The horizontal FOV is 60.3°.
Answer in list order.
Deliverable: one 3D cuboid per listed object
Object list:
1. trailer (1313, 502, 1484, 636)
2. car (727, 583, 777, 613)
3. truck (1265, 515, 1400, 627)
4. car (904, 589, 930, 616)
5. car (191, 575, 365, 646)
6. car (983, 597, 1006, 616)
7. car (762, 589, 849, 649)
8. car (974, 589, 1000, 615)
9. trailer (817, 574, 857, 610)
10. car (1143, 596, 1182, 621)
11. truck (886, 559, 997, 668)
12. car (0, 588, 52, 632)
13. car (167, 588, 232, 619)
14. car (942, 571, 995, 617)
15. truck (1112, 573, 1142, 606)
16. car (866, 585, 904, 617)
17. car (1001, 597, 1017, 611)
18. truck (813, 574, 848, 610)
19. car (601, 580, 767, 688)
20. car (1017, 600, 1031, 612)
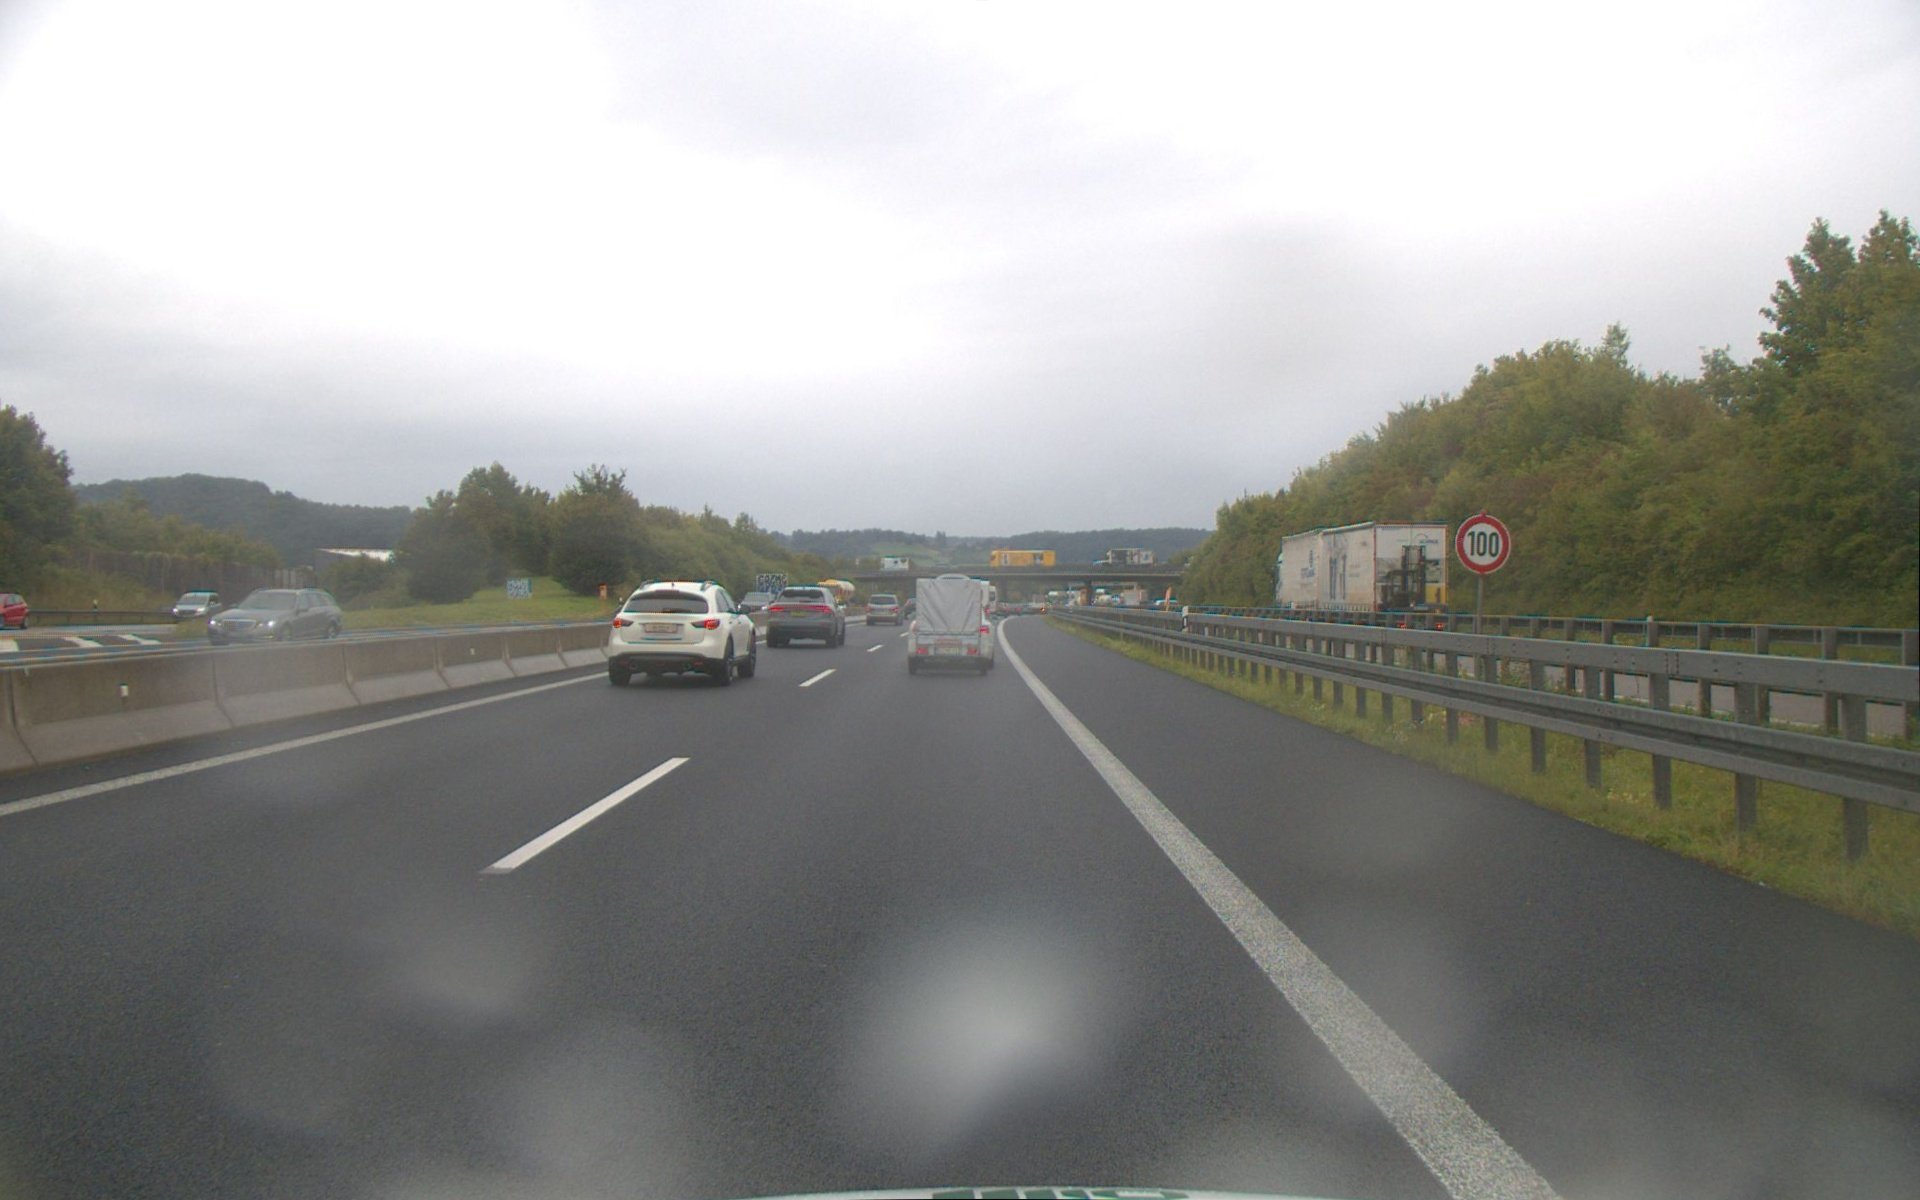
[{"bbox_3d":[15.414,-1.055,59.193,3.367,4.364,10.454,0,0,0],"label":"trailer"},{"bbox_3d":[-12.327,-0.154,98.388,2.134,1.725,4.734,0,0,3],"label":"car"},{"bbox_3d":[15.460,-1.154,69.618,3.367,4.364,10.418,0,0,0],"label":"truck"},{"bbox_3d":[-3.036,0.181,117.017,1.804,1.851,3.999,0,0,-1],"label":"car"},{"bbox_3d":[-17.594,0.244,43.021,2.134,1.725,5.252,0,0,3],"label":"car"},{"bbox_3d":[3.223,0.620,155.657,1.953,1.780,3.998,1,0,-2],"label":"car"},{"bbox_3d":[-4.445,0.533,48.228,2.130,1.660,4.500,0,0,0],"label":"car"},{"bbox_3d":[2.211,0.191,136.737,1.953,2.071,4.150,1,0,-2],"label":"car"},{"bbox_3d":[-12.547,-0.792,169.757,2.704,3.458,11.450,1,0,2],"label":"trailer"},{"bbox_3d":[12.201,0.477,99.789,1.822,1.472,4.157,0,0,0],"label":"car"},{"bbox_3d":[-0.261,0.229,34.324,1.977,2.020,7.215,0,0,2],"label":"truck"},{"bbox_3d":[-38.922,0.382,67.214,2.140,1.725,4.618,0,0,-10],"label":"car"},{"bbox_3d":[-43.757,0.188,95.244,2.139,1.725,4.560,0,0,-8],"label":"car"},{"bbox_3d":[0.543,-0.376,99.704,2.954,2.662,6.076,0,0,2],"label":"car"},{"bbox_3d":[26.367,-1.656,261.783,4.009,5.193,10.466,0,0,2],"label":"truck"},{"bbox_3d":[-3.960,0.046,87.544,1.862,1.641,4.016,0,0,-1],"label":"car"},{"bbox_3d":[6.259,0.517,210.187,1.952,1.780,4.001,1,0,2],"label":"car"},{"bbox_3d":[-12.802,-0.806,163.351,2.704,3.458,5.847,1,0,2],"label":"truck"},{"bbox_3d":[-4.525,0.519,27.808,1.935,1.668,4.501,0,0,1],"label":"car"},{"bbox_3d":[9.179,0.865,238.214,1.952,1.780,4.001,1,0,3],"label":"car"}]
